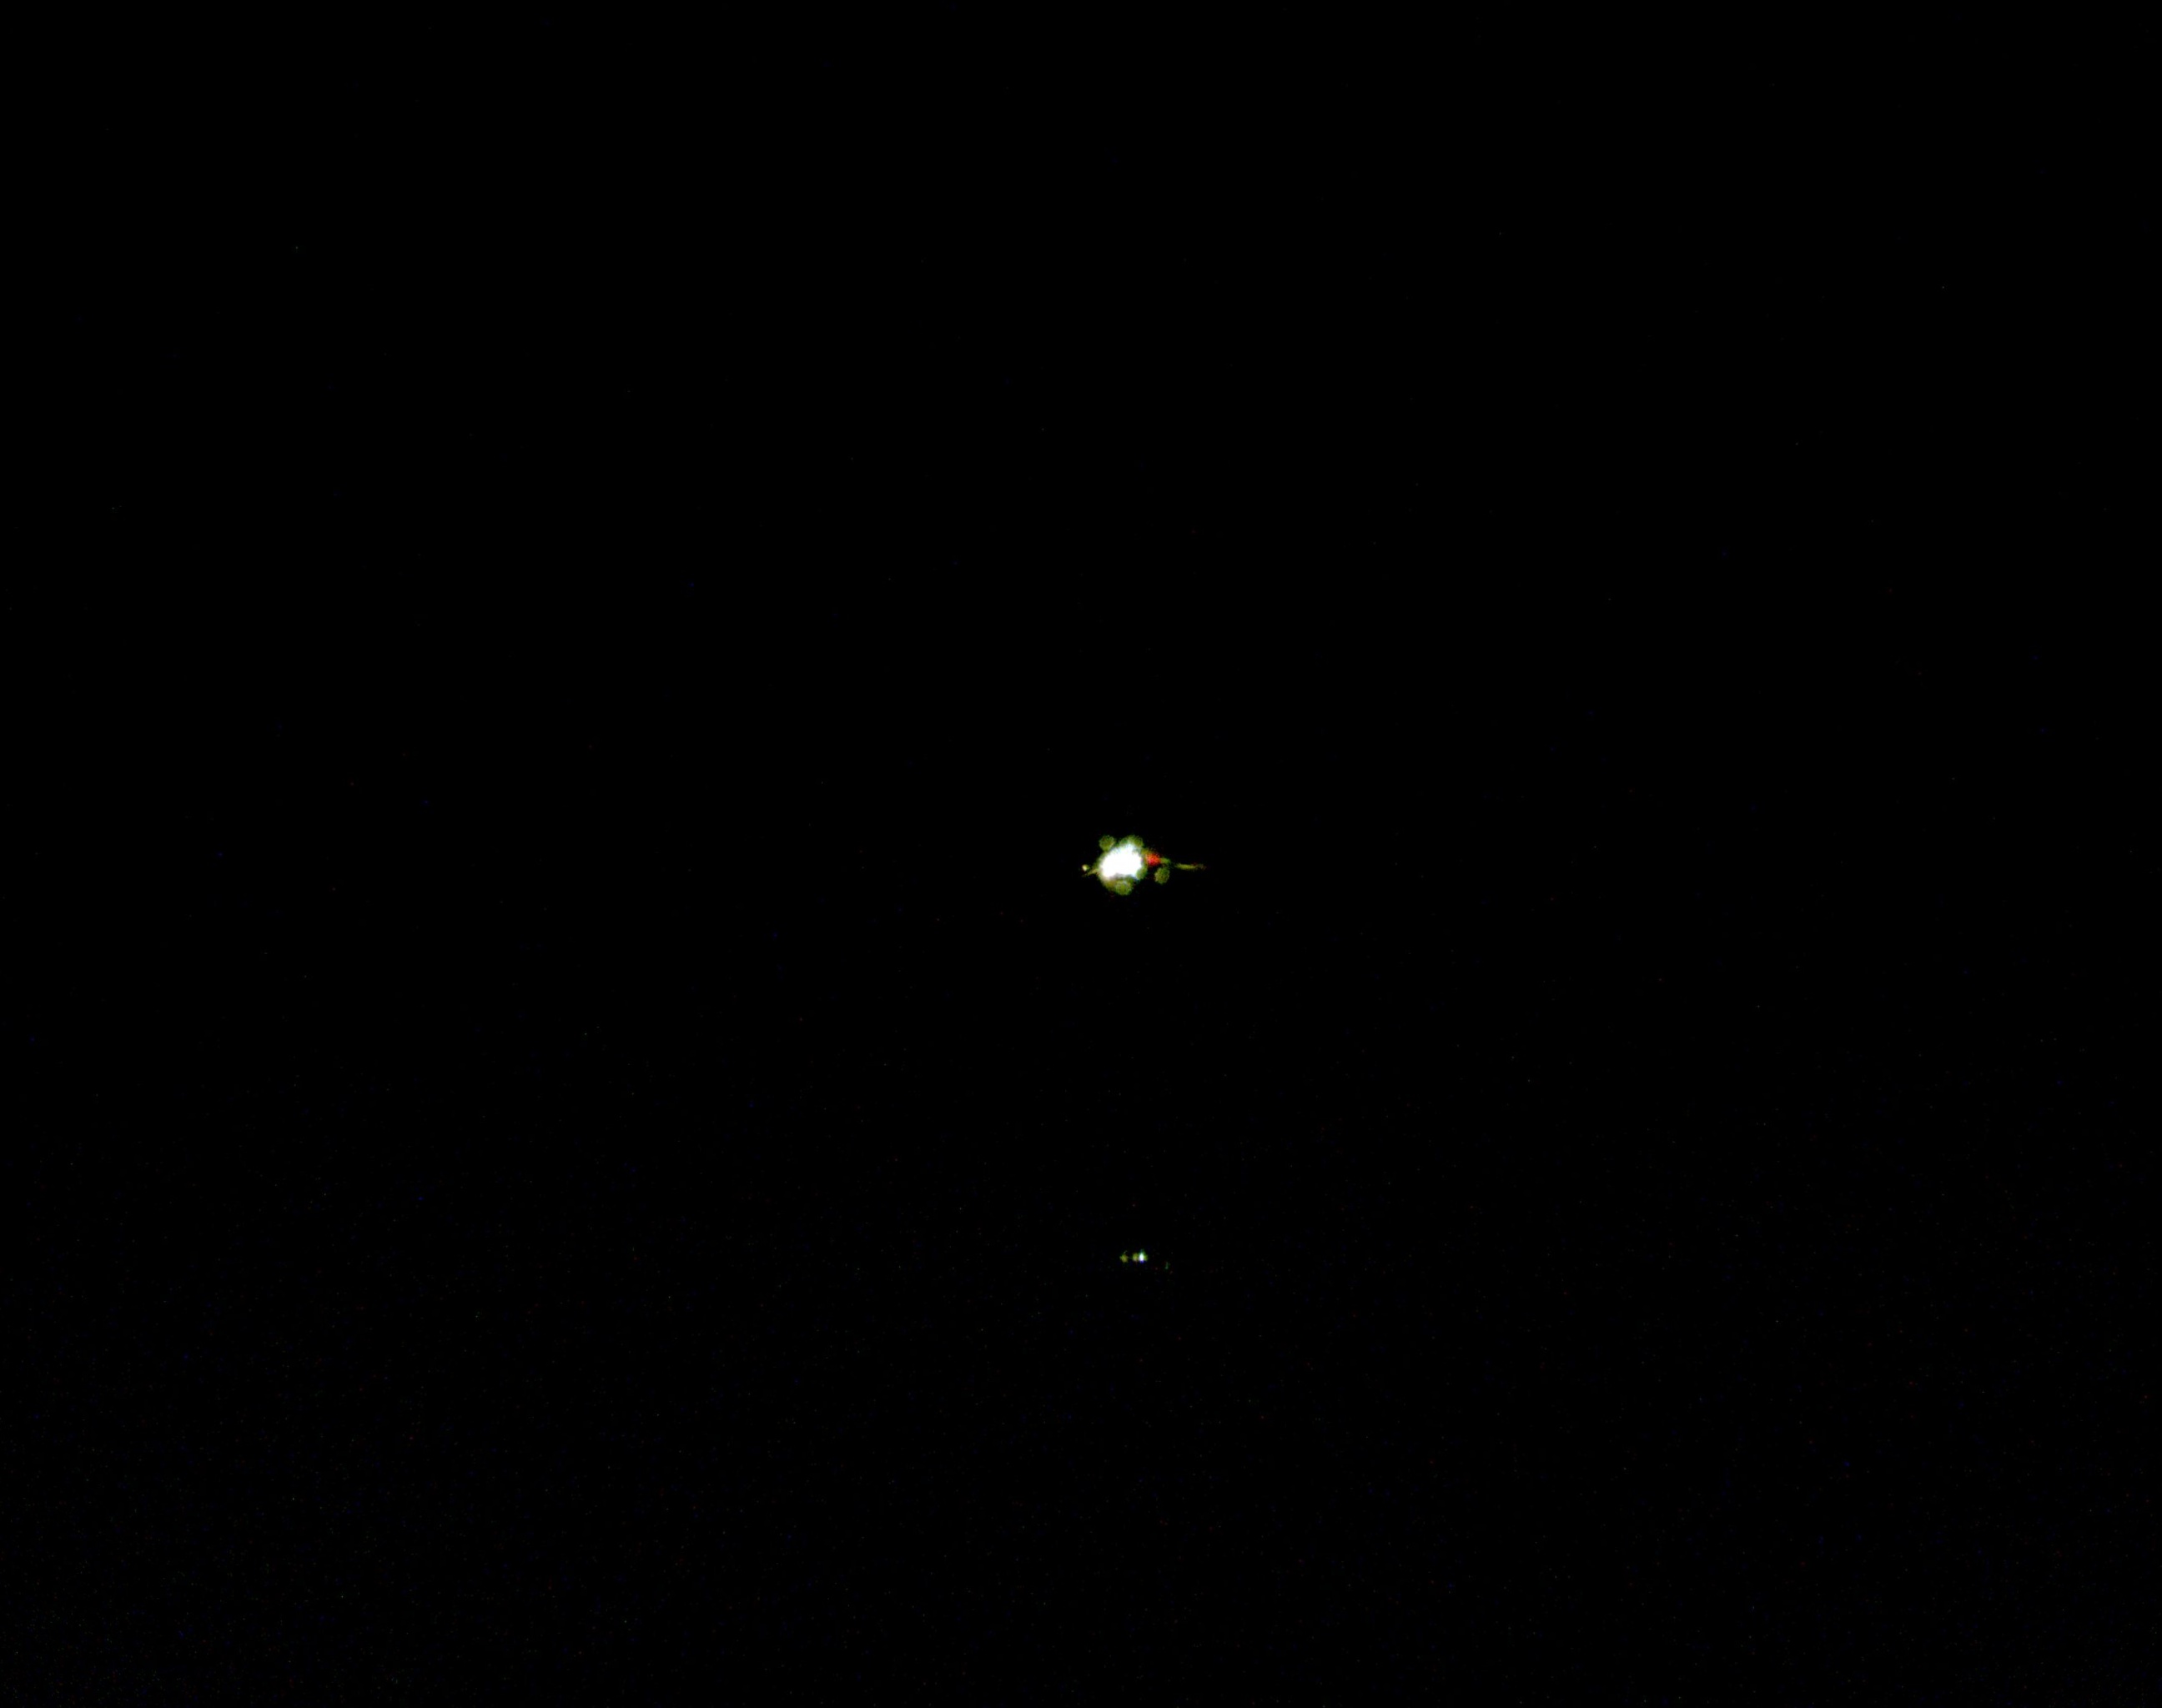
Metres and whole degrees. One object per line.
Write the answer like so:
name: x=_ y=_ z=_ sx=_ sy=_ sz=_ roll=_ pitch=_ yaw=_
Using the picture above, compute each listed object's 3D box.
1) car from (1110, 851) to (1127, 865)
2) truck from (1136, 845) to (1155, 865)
car: x=4.804 y=0.523 z=97.104 sx=1.746 sy=1.623 sz=3.738 roll=-1 pitch=0 yaw=7
truck: x=8.419 y=0.174 z=99.960 sx=2.142 sy=2.520 sz=5.280 roll=-2 pitch=0 yaw=2
